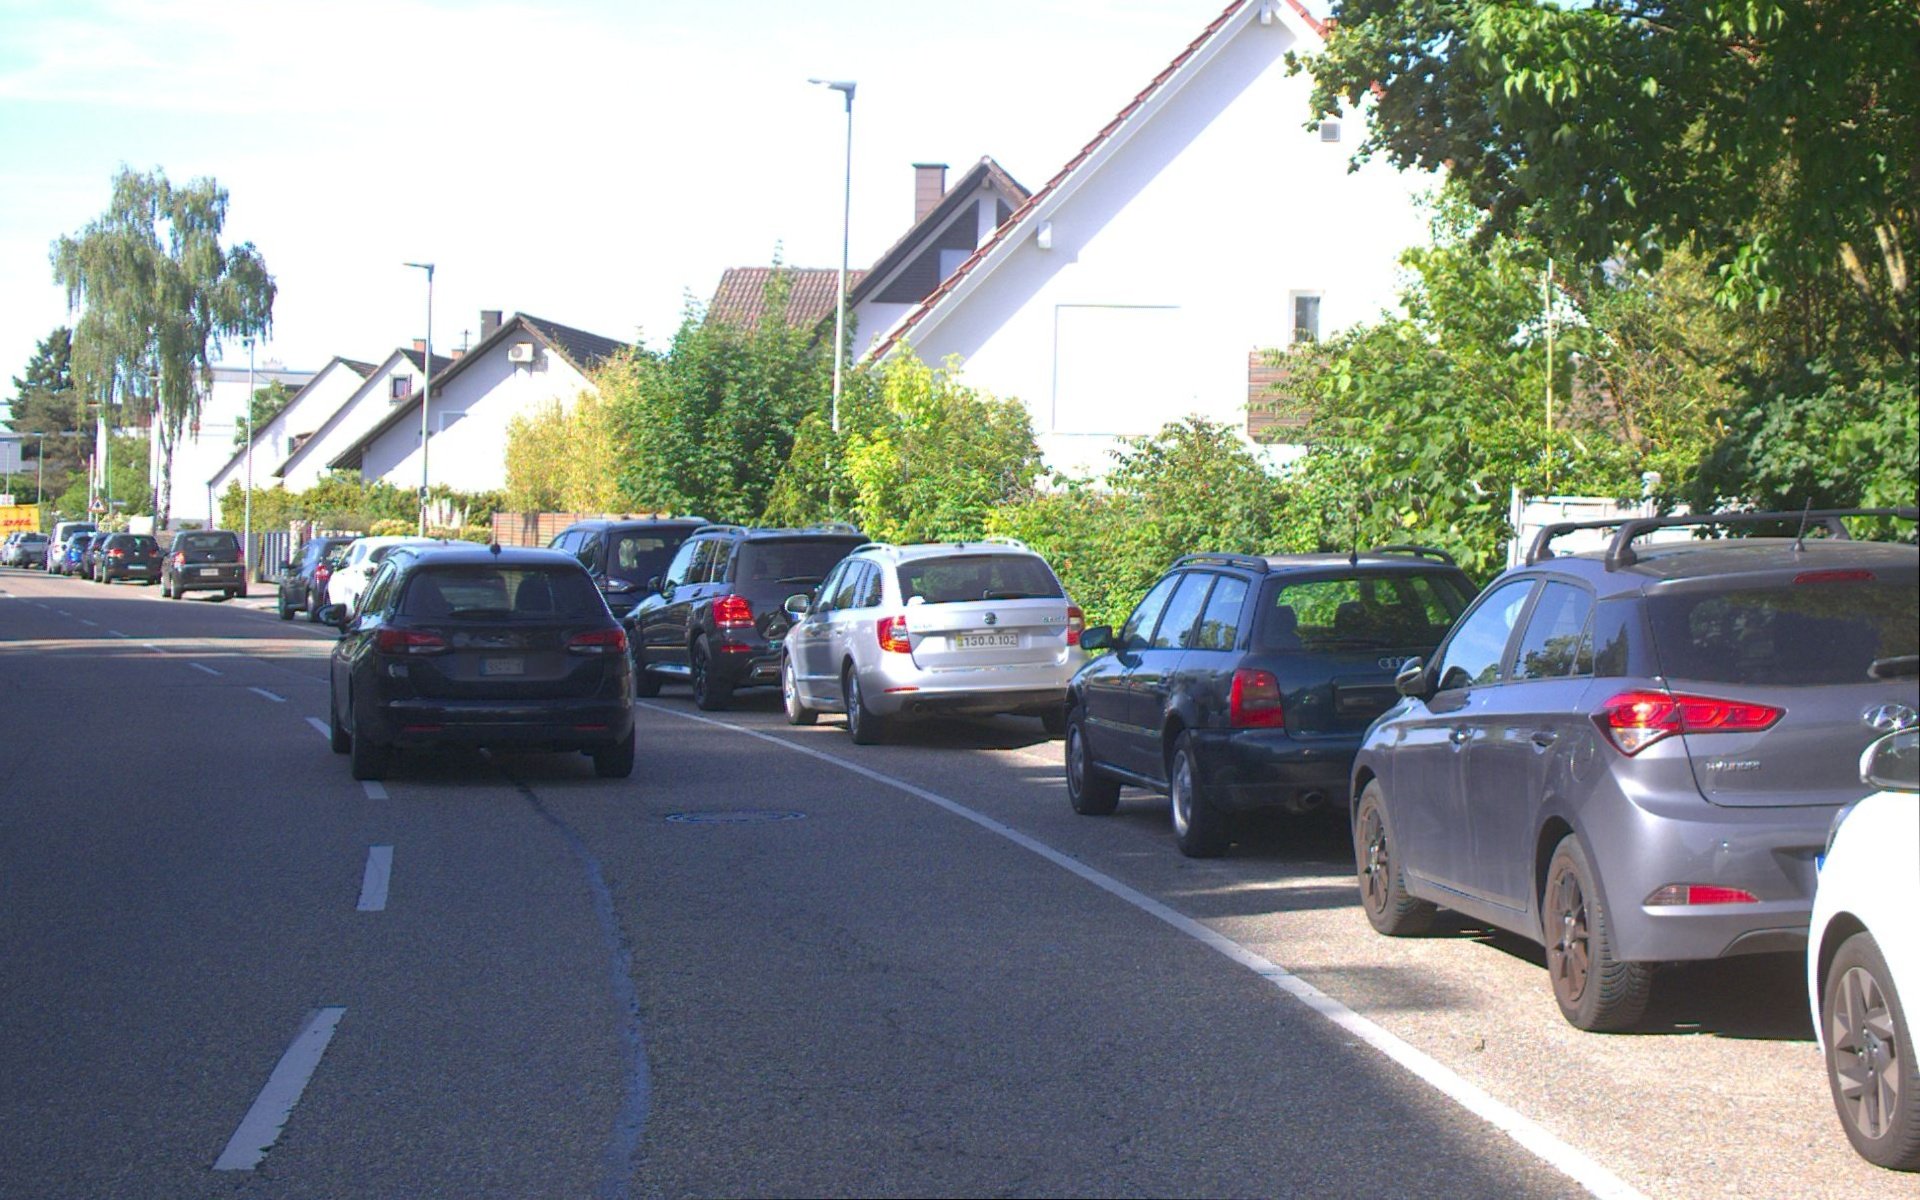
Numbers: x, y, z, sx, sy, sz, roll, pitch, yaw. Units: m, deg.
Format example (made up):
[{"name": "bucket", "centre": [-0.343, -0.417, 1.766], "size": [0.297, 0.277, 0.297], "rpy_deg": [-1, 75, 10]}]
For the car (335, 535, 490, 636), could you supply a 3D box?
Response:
[{"name": "car", "centre": [-8.067, -0.218, 50.398], "size": [1.915, 1.402, 4.295], "rpy_deg": [1, 0, -13]}]

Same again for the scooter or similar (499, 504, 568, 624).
[{"name": "scooter or similar", "centre": [-7.483, -0.605, 60.225], "size": [0.685, 2.007, 2.963], "rpy_deg": [1, -1, -17]}]

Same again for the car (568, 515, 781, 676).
[{"name": "car", "centre": [-3.209, -0.055, 37.941], "size": [1.902, 1.660, 4.192], "rpy_deg": [1, 0, -11]}]

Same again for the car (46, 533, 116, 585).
[{"name": "car", "centre": [-30.520, -1.413, 119.299], "size": [2.005, 1.718, 4.295], "rpy_deg": [1, 0, -18]}]

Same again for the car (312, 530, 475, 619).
[{"name": "car", "centre": [-9.419, -0.428, 56.930], "size": [1.915, 1.402, 4.295], "rpy_deg": [1, 0, -19]}]

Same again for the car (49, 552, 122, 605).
[{"name": "car", "centre": [-28.978, -0.723, 113.867], "size": [2.005, 1.718, 4.295], "rpy_deg": [1, 0, -18]}]

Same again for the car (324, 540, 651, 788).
[{"name": "car", "centre": [-3.234, 0.352, 22.881], "size": [1.761, 1.486, 4.292], "rpy_deg": [0, 1, -13]}]

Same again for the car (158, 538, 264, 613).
[{"name": "car", "centre": [-17.851, -0.588, 81.830], "size": [2.005, 1.718, 4.295], "rpy_deg": [1, 0, -18]}]

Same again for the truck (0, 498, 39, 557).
[{"name": "truck", "centre": [-44.727, -3.391, 162.096], "size": [2.204, 2.590, 5.145], "rpy_deg": [1, -1, -18]}]

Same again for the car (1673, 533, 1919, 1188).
[{"name": "car", "centre": [3.071, 0.598, 7.556], "size": [1.760, 1.475, 4.295], "rpy_deg": [1, 0, -5]}]

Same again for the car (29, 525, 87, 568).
[{"name": "car", "centre": [-37.024, -2.190, 141.065], "size": [2.005, 1.718, 4.295], "rpy_deg": [1, 0, -18]}]

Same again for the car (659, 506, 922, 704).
[{"name": "car", "centre": [-1.665, 0.031, 32.267], "size": [2.005, 1.718, 4.295], "rpy_deg": [1, 0, -9]}]

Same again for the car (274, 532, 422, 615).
[{"name": "car", "centre": [-10.937, -0.478, 61.252], "size": [1.915, 1.402, 4.295], "rpy_deg": [1, 0, -19]}]

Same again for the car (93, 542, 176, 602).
[{"name": "car", "centre": [-24.191, -0.820, 100.651], "size": [2.005, 1.718, 4.295], "rpy_deg": [1, 0, -18]}]

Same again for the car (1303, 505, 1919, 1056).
[{"name": "car", "centre": [2.594, 0.495, 12.158], "size": [1.911, 1.595, 4.295], "rpy_deg": [1, 1, -6]}]

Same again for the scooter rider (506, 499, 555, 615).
[{"name": "scooter rider", "centre": [-7.550, -0.749, 60.397], "size": [0.685, 2.007, 0.820], "rpy_deg": [1, -1, -18]}]

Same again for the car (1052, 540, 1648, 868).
[{"name": "car", "centre": [1.834, 0.461, 17.682], "size": [2.005, 1.470, 4.295], "rpy_deg": [1, 0, -8]}]

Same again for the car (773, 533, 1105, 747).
[{"name": "car", "centre": [-0.258, 0.276, 26.935], "size": [1.819, 1.529, 4.260], "rpy_deg": [1, 0, -11]}]

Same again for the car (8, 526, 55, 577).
[{"name": "car", "centre": [-39.439, -2.036, 145.938], "size": [1.749, 2.007, 3.952], "rpy_deg": [1, -1, -17]}]
